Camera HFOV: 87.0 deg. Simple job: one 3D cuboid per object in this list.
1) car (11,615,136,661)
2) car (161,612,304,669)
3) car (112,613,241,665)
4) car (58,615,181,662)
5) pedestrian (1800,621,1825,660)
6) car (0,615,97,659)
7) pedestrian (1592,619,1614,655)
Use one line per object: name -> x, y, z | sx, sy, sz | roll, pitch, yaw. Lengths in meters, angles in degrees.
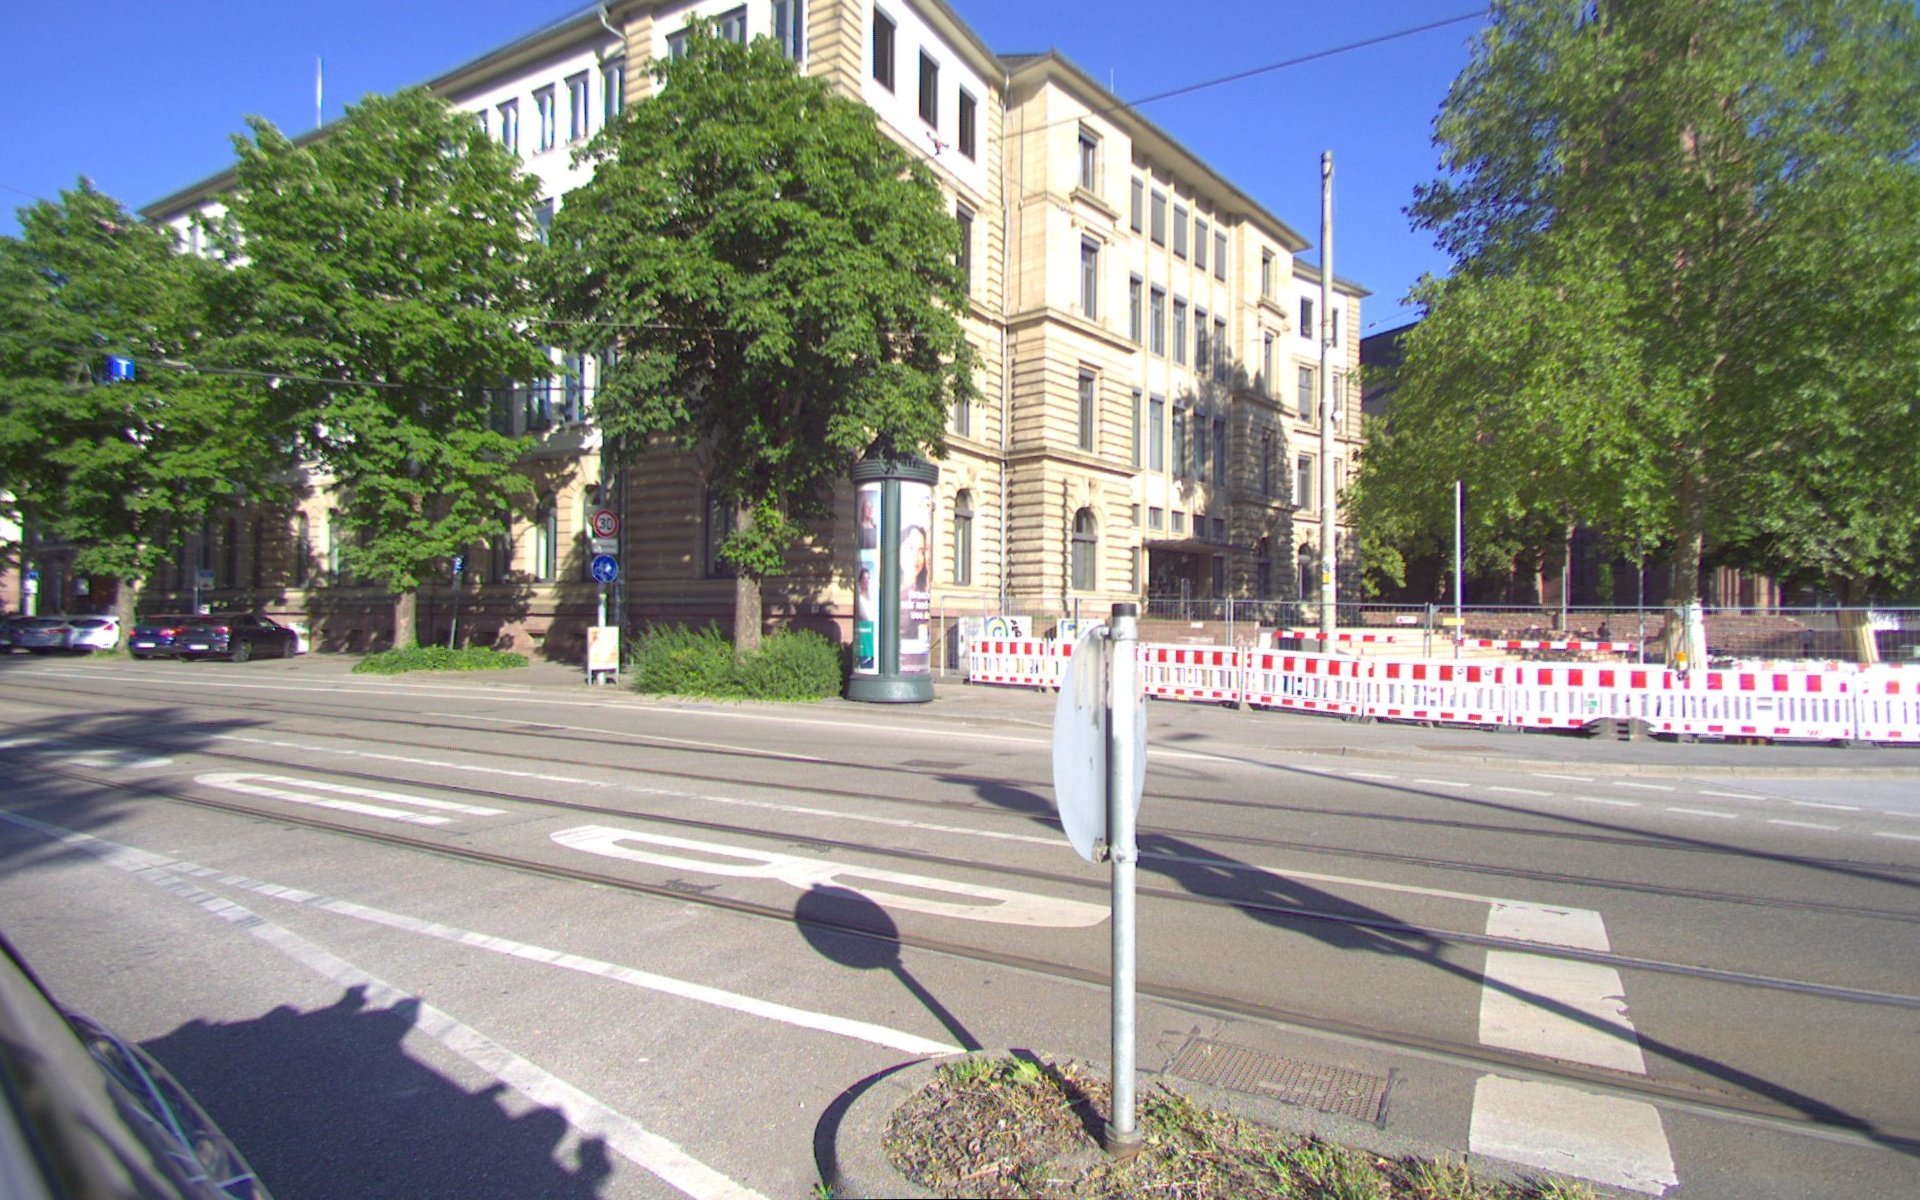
car -> -33.202, 1.392, 38.048 | 1.626, 1.572, 3.652 | -1, 0, -3
car -> -23.589, 1.262, 33.017 | 1.819, 1.643, 4.184 | -1, 0, -3
car -> -26.218, 1.272, 34.019 | 1.626, 1.572, 3.652 | -1, 0, -3
car -> -30.889, 1.374, 37.337 | 1.626, 1.572, 3.652 | -1, 0, -3
pedestrian -> 36.884, 1.725, 43.773 | 0.666, 1.660, 0.762 | 1, -2, -45
car -> -36.217, 1.415, 39.756 | 1.626, 1.572, 3.652 | -1, 0, -3
pedestrian -> 30.385, 1.729, 47.825 | 0.627, 1.660, 0.677 | 1, -2, -37
